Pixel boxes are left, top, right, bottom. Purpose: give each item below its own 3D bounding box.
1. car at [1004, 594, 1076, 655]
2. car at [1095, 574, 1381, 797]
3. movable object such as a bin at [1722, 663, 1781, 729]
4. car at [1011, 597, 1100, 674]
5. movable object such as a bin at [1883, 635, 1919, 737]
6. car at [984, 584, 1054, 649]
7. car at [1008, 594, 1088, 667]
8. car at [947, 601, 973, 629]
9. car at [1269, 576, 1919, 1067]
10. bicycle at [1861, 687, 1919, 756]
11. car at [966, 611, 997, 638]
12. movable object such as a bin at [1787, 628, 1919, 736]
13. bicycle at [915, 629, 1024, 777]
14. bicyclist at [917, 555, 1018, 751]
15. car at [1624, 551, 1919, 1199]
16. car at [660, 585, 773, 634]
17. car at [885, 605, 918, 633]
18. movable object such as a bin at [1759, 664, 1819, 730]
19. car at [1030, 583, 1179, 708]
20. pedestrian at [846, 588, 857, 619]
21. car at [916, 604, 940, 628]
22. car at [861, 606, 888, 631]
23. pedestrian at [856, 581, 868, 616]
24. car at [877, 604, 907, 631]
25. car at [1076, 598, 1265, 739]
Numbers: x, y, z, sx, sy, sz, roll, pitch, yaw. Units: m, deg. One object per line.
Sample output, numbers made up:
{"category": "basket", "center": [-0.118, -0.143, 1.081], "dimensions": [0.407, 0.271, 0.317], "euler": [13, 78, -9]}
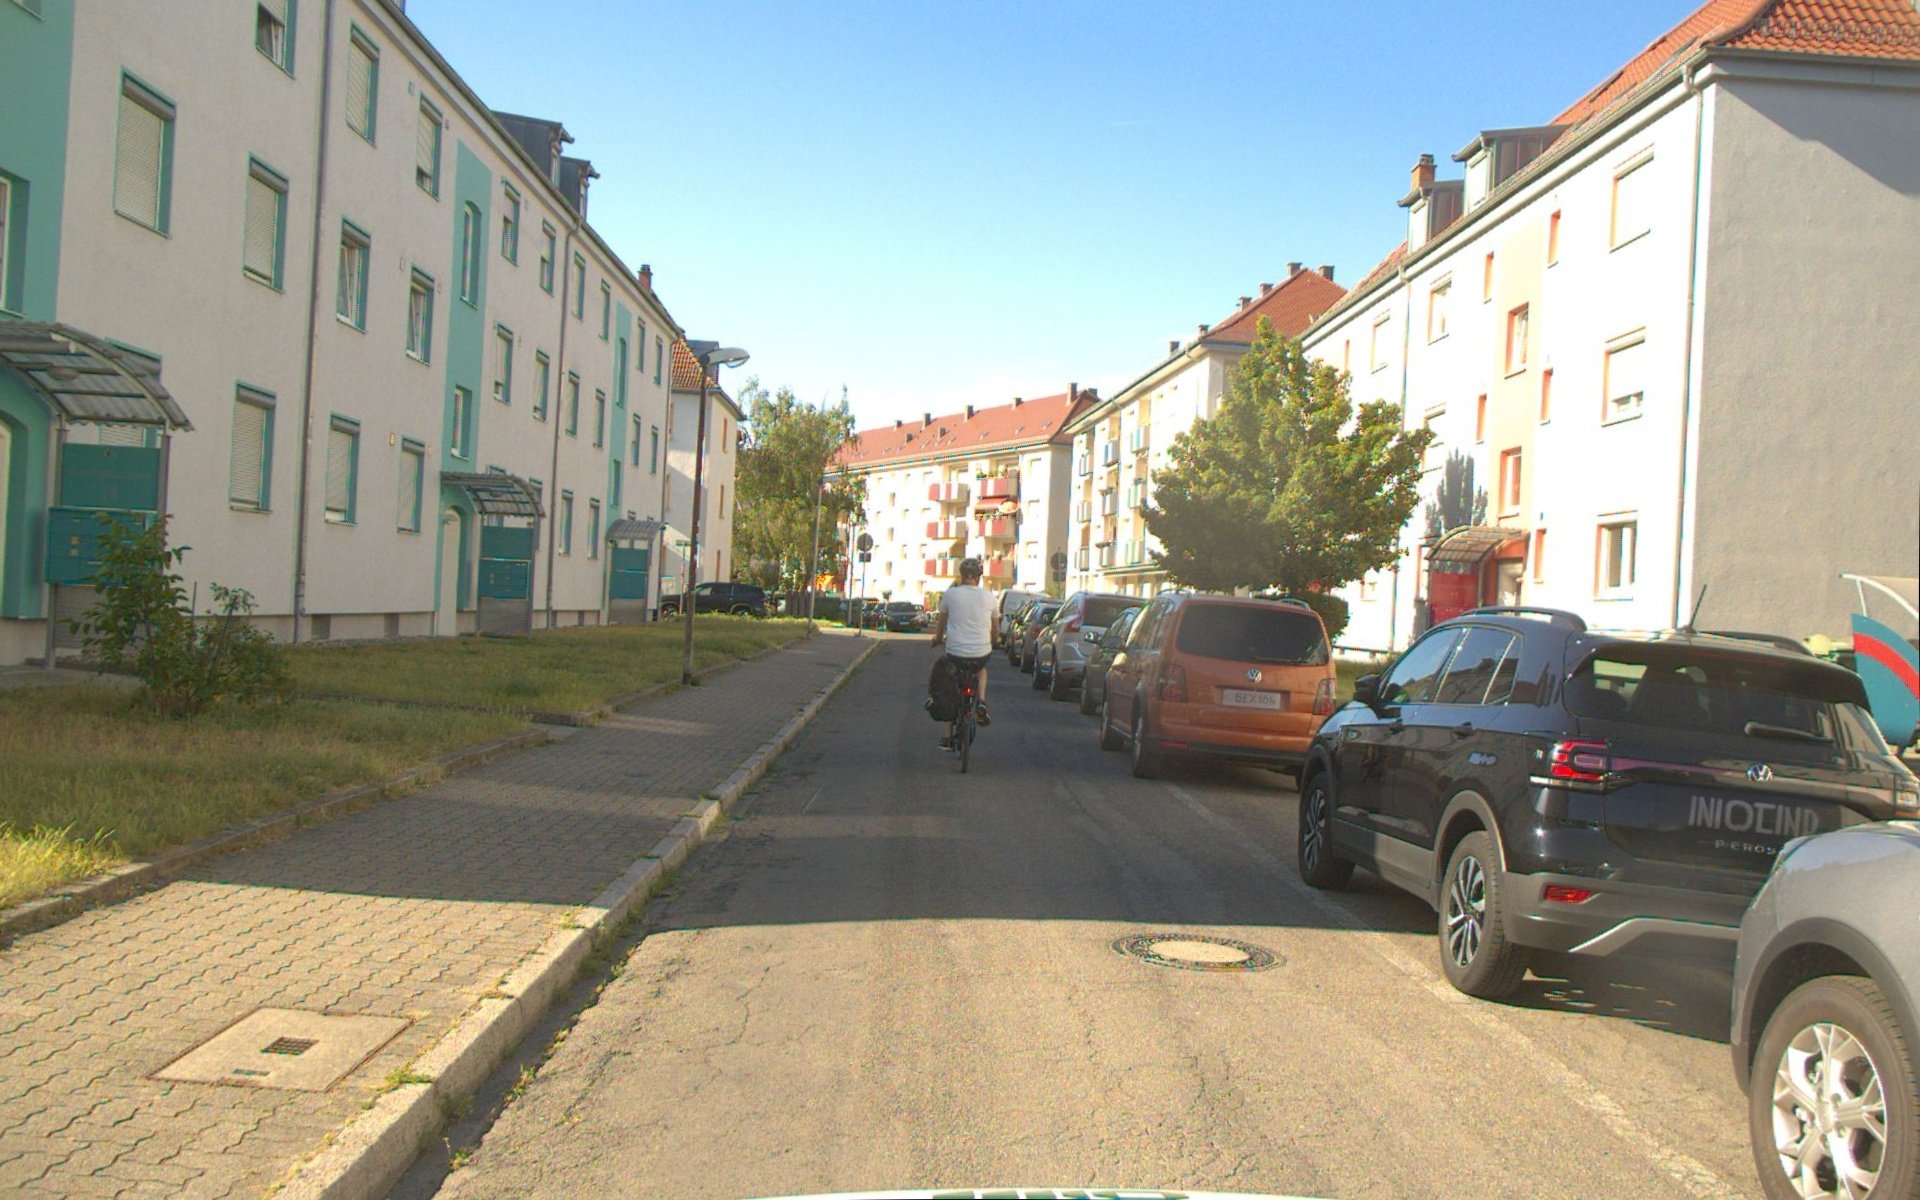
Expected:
{"category": "car", "center": [2.152, 0.633, 45.109], "dimensions": [1.528, 1.478, 3.364], "euler": [4, 0, -3]}
{"category": "car", "center": [2.467, 0.705, 15.731], "dimensions": [1.824, 1.697, 4.126], "euler": [5, 0, -1]}
{"category": "movable object such as a bin", "center": [11.501, 1.392, 24.047], "dimensions": [0.512, 0.902, 0.633], "euler": [3, 0, -1]}
{"category": "car", "center": [2.008, 0.719, 35.563], "dimensions": [1.527, 1.436, 3.932], "euler": [4, 0, -1]}
{"category": "movable object such as a bin", "center": [14.445, 1.276, 24.060], "dimensions": [1.332, 1.440, 1.187], "euler": [2, 0, -2]}
{"category": "car", "center": [1.742, 0.464, 49.812], "dimensions": [1.641, 1.769, 3.940], "euler": [4, 0, -3]}
{"category": "car", "center": [2.113, 0.707, 40.468], "dimensions": [1.528, 1.604, 3.364], "euler": [4, 0, -3]}
{"category": "car", "center": [-0.013, 0.897, 99.155], "dimensions": [1.354, 1.523, 3.075], "euler": [4, 0, -3]}
{"category": "car", "center": [2.880, 0.791, 8.079], "dimensions": [1.678, 1.623, 4.396], "euler": [5, 0, -2]}
{"category": "bicycle", "center": [11.737, 1.499, 20.163], "dimensions": [0.444, 0.753, 1.868], "euler": [2, 0, -1]}
{"category": "car", "center": [1.192, 1.351, 92.406], "dimensions": [1.440, 1.358, 3.139], "euler": [4, 0, -3]}
{"category": "movable object such as a bin", "center": [12.990, 1.171, 23.990], "dimensions": [1.332, 1.440, 1.187], "euler": [2, 0, -2]}
{"category": "bicycle", "center": [0.051, 0.867, 14.675], "dimensions": [0.792, 1.148, 2.100], "euler": [2, 0, -4]}
{"category": "bicyclist", "center": [0.055, 0.458, 14.736], "dimensions": [0.792, 1.672, 0.898], "euler": [2, 0, -4]}
{"category": "car", "center": [3.052, 0.795, 2.840], "dimensions": [1.716, 1.645, 4.449], "euler": [5, 0, -3]}
{"category": "car", "center": [-9.371, 0.354, 63.822], "dimensions": [4.149, 1.667, 1.581], "euler": [3, 0, -5]}
{"category": "car", "center": [-2.955, 0.933, 82.730], "dimensions": [1.441, 1.359, 3.137], "euler": [-1, 0, -6]}
{"category": "movable object such as a bin", "center": [12.047, 1.404, 24.045], "dimensions": [0.512, 0.902, 0.633], "euler": [3, 0, -1]}
{"category": "car", "center": [2.202, 0.653, 26.312], "dimensions": [1.667, 1.699, 4.377], "euler": [4, 0, -3]}
{"category": "pedestrian", "center": [-5.159, 0.148, 78.704], "dimensions": [0.425, 1.452, 0.543], "euler": [4, 0, -2]}
{"category": "car", "center": [-2.165, 1.071, 111.881], "dimensions": [1.440, 1.542, 3.075], "euler": [4, 0, -3]}
{"category": "car", "center": [-4.843, 1.025, 93.710], "dimensions": [1.440, 1.358, 3.138], "euler": [-1, 0, -4]}
{"category": "pedestrian", "center": [-4.662, -0.071, 78.812], "dimensions": [0.425, 1.601, 0.543], "euler": [4, 0, -2]}
{"category": "car", "center": [-3.598, 0.893, 87.095], "dimensions": [1.441, 1.358, 3.137], "euler": [-1, 0, -5]}
{"category": "car", "center": [2.591, 0.798, 21.192], "dimensions": [1.586, 1.485, 3.838], "euler": [5, 0, -4]}
